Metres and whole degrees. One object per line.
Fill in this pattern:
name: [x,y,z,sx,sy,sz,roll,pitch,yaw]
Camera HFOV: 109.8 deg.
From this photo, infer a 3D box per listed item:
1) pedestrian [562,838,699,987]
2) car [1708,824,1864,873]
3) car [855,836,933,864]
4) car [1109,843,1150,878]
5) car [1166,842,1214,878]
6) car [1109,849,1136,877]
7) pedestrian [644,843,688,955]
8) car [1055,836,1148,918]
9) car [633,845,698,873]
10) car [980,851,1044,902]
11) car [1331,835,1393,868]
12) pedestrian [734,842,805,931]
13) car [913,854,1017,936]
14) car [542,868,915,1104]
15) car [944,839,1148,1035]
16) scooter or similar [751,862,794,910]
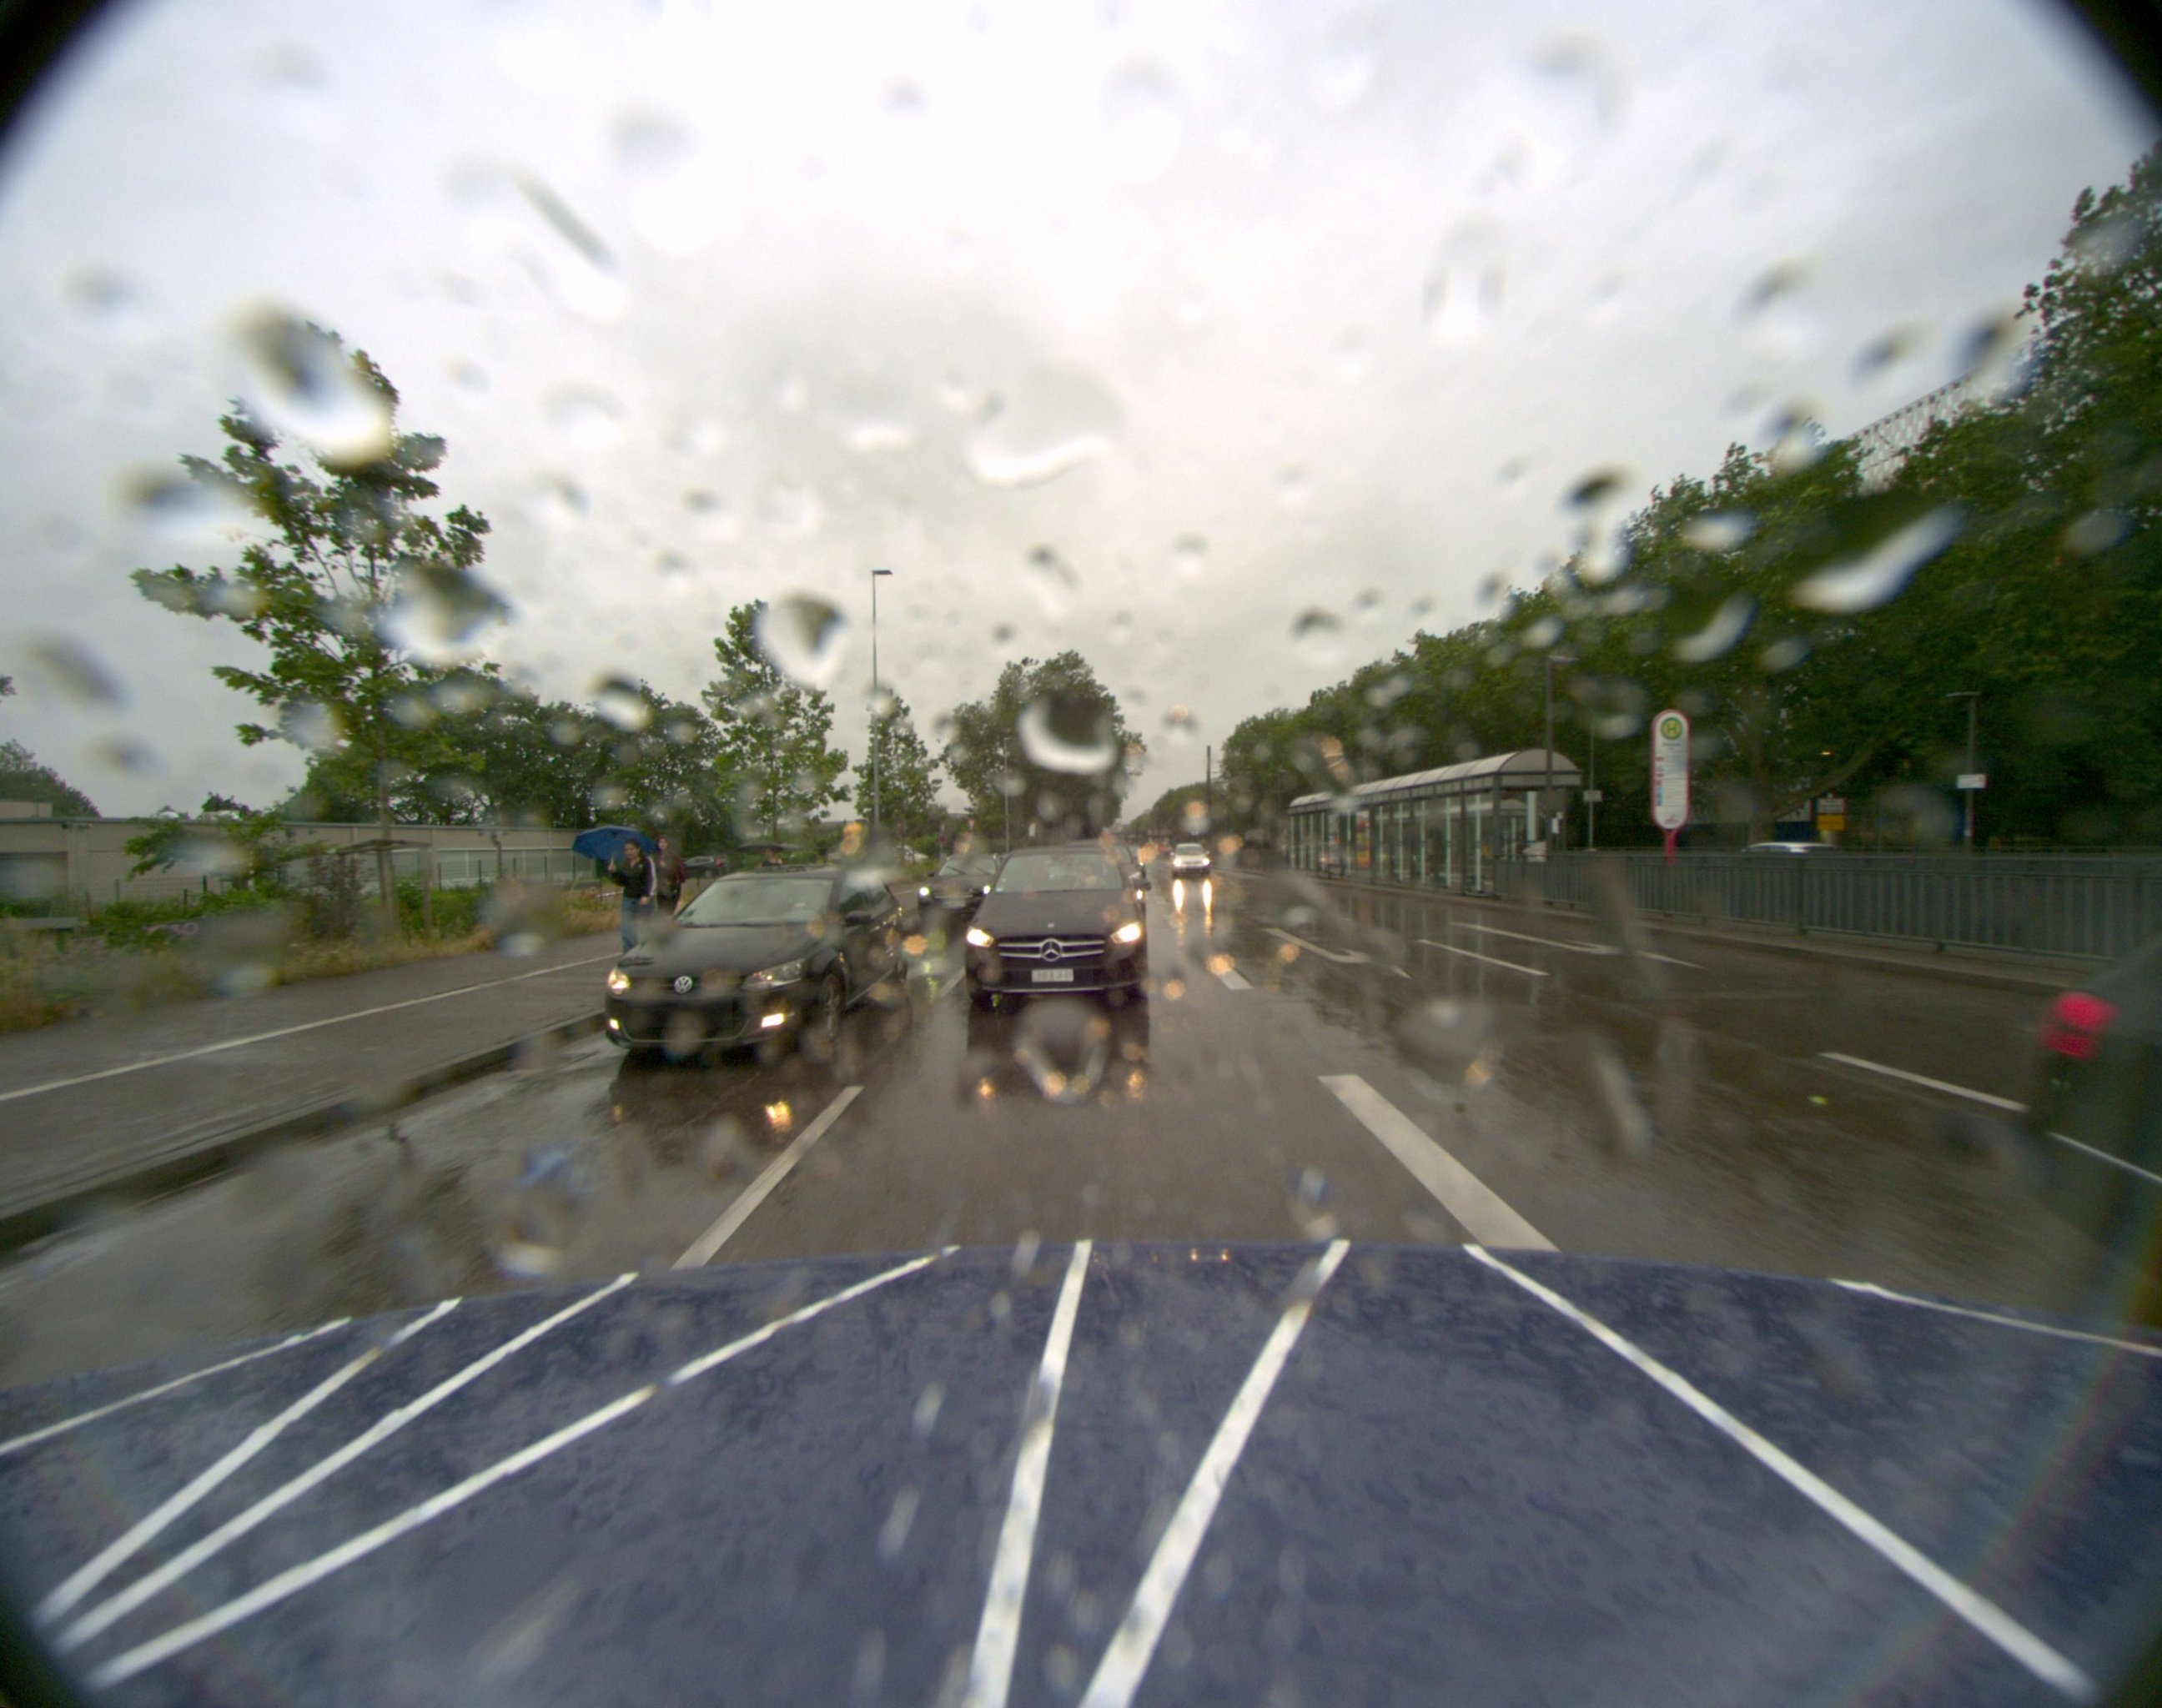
pedestrian: [-5.557,0.683,9.447,1.082,1.746,0.969,0,2,0]
car: [23.818,-0.222,25.875,1.703,1.484,3.874,-2,2,-1]
car: [-12.730,-0.278,51.933,4.759,1.640,1.999,-2,2,-1]
car: [2.424,0.284,38.679,1.794,1.597,3.999,-2,2,0]
car: [5.355,0.240,37.718,1.794,1.597,3.999,-2,2,0]
car: [2.711,0.558,50.383,1.618,1.597,3.807,-2,2,1]
pedestrian: [-6.260,0.671,11.473,0.401,1.653,0.440,1,2,0]
car: [0.393,0.394,15.597,1.633,1.420,3.623,-2,1,1]
car: [-33.191,0.399,60.710,3.996,2.002,2.000,-2,2,3]
car: [-2.240,0.694,25.702,1.703,1.461,4.121,-2,2,0]
car: [12.635,-0.161,34.361,1.527,1.353,3.615,-2,2,1]
pedestrian: [-6.197,0.623,15.173,1.025,1.699,0.891,1,2,0]
car: [-2.604,0.861,17.880,1.698,1.565,3.813,-2,2,2]
car: [-2.784,0.930,6.959,1.633,1.420,3.623,-2,1,1]
car: [-0.247,0.677,8.595,1.689,1.578,4.162,-2,2,2]
scooter or similar: [-7.970,0.792,19.674,0.381,1.124,1.776,0,2,-1]
